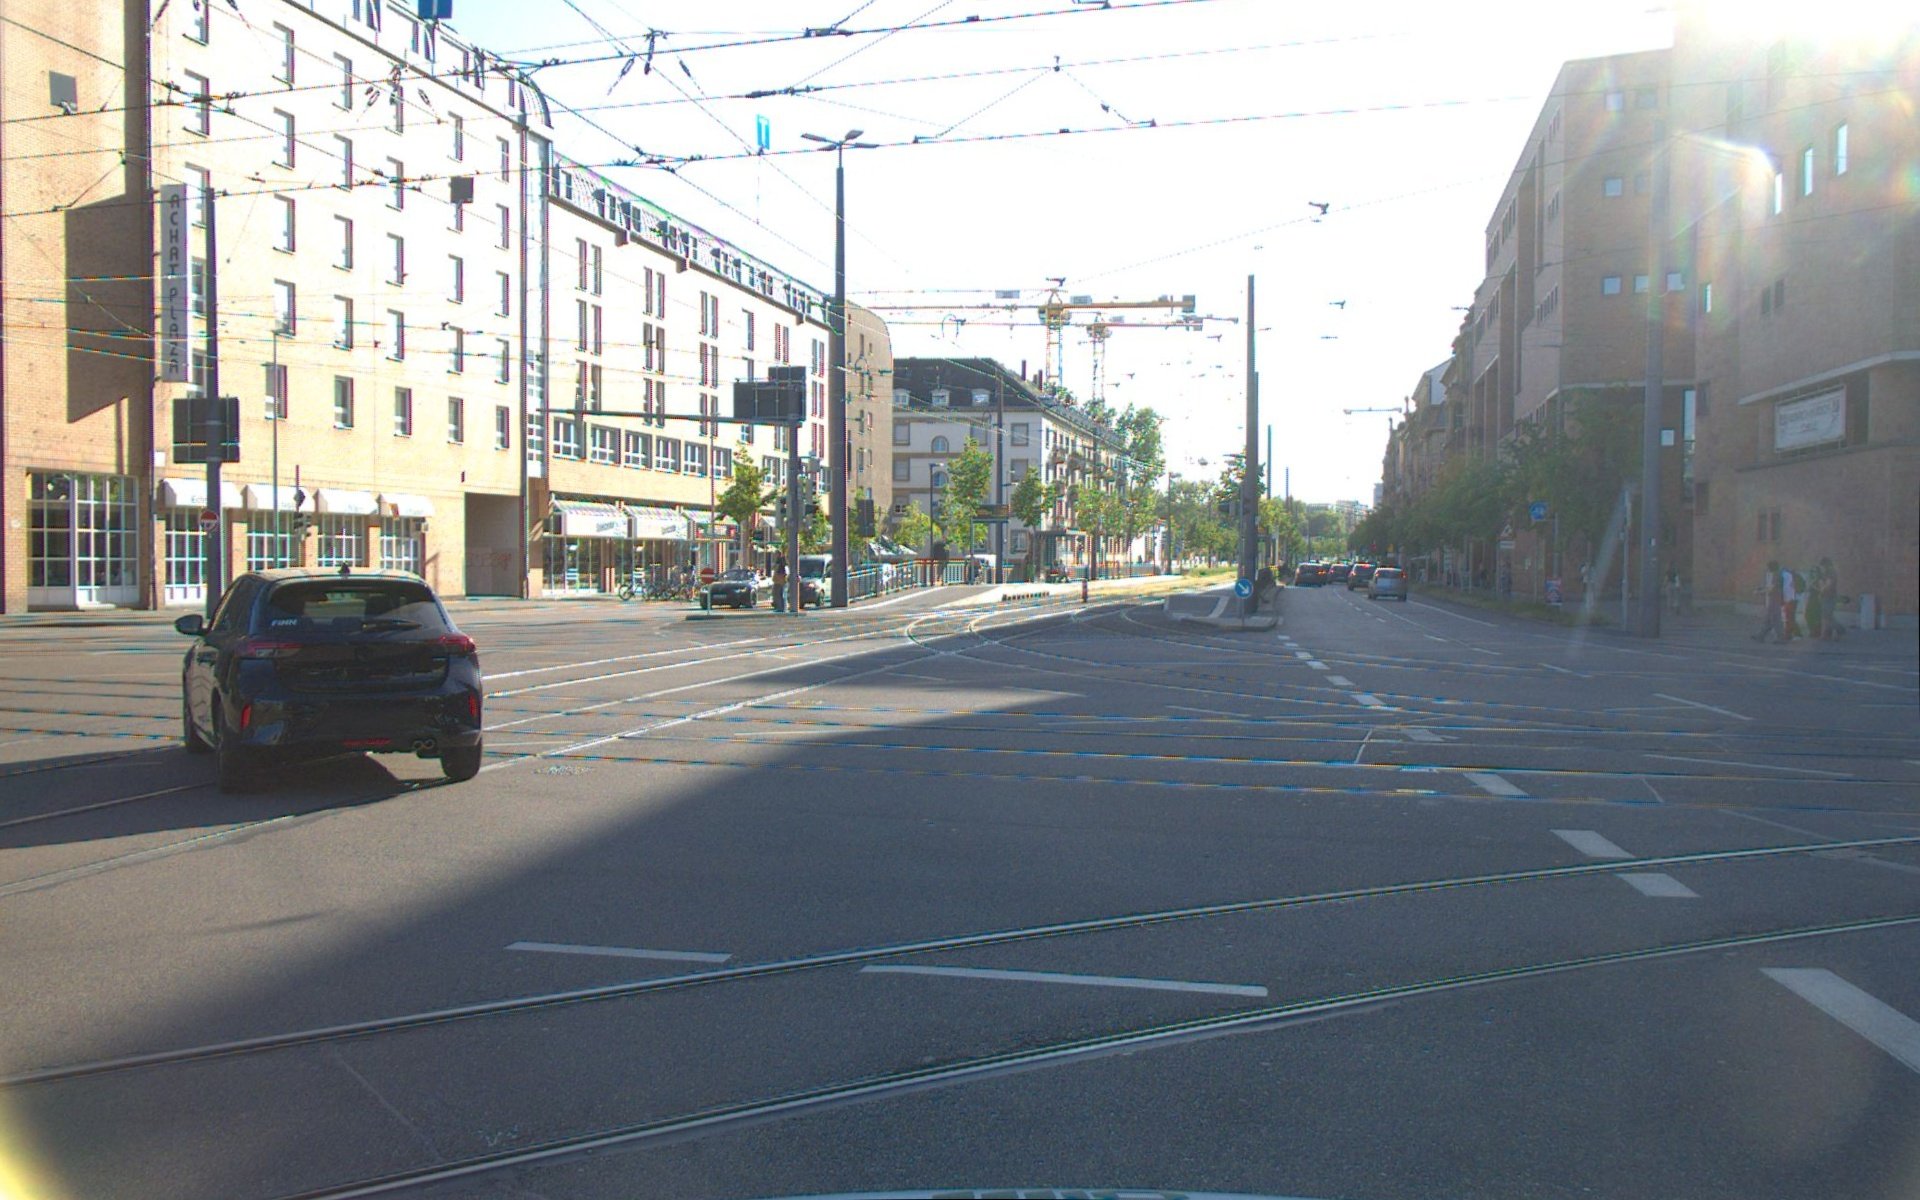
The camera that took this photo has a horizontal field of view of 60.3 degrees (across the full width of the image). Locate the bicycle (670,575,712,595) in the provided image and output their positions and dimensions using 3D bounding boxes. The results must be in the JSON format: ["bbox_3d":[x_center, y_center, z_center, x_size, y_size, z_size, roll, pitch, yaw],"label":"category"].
[{"bbox_3d":[-12.661,-0.718,77.816,1.992,0.936,0.483,1,2,24],"label":"bicycle"}]

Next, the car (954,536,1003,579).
[{"bbox_3d":[1.435,-3.259,123.542,2.326,3.050,8.480,0,3,10],"label":"car"}]

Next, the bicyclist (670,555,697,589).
[{"bbox_3d":[-11.482,-1.177,68.699,0.792,1.400,0.926,0,2,12],"label":"bicyclist"}]

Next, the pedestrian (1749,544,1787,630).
[{"bbox_3d":[17.230,-0.273,35.292,0.559,1.817,0.549,0,1,5],"label":"pedestrian"}]

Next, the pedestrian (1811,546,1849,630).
[{"bbox_3d":[18.876,-0.271,35.889,0.559,1.817,0.549,0,1,5],"label":"pedestrian"}]

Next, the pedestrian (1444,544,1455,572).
[{"bbox_3d":[31.925,-2.721,107.878,0.626,1.817,0.689,0,1,16],"label":"pedestrian"}]

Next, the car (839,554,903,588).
[{"bbox_3d":[-3.984,-1.325,74.776,1.800,1.473,4.303,-1,1,12],"label":"car"}]

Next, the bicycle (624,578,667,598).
[{"bbox_3d":[-14.062,-0.549,73.915,1.992,0.860,0.483,1,2,24],"label":"bicycle"}]

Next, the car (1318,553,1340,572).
[{"bbox_3d":[29.908,-3.048,134.000,1.684,1.478,3.701,0,2,13],"label":"car"}]

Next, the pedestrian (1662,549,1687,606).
[{"bbox_3d":[22.848,-0.718,52.894,0.626,1.817,0.689,0,1,16],"label":"pedestrian"}]

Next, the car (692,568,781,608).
[{"bbox_3d":[-7.846,-0.458,58.475,1.800,1.290,4.234,-1,1,11],"label":"car"}]

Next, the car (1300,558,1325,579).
[{"bbox_3d":[25.229,-2.270,118.250,1.684,1.478,3.701,0,2,13],"label":"car"}]

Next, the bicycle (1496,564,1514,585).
[{"bbox_3d":[25.451,-1.197,77.221,0.634,0.920,2.348,1,2,14],"label":"bicycle"}]

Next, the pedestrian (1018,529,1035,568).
[{"bbox_3d":[3.347,-2.602,83.375,0.843,1.919,0.738,1,3,3],"label":"pedestrian"}]

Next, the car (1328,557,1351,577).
[{"bbox_3d":[28.448,-2.456,123.890,1.684,1.478,3.701,0,2,13],"label":"car"}]

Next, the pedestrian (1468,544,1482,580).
[{"bbox_3d":[26.040,-1.923,83.699,0.626,1.817,0.689,0,1,14],"label":"pedestrian"}]

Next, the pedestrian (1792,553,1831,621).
[{"bbox_3d":[19.034,-0.303,36.973,0.536,1.502,0.573,0,2,-5],"label":"pedestrian"}]

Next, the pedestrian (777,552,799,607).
[{"bbox_3d":[-5.069,-0.613,48.842,0.568,1.604,0.647,0,1,0],"label":"pedestrian"}]

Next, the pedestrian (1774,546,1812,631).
[{"bbox_3d":[17.846,-0.255,35.449,0.559,1.817,0.549,0,1,5],"label":"pedestrian"}]

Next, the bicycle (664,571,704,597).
[{"bbox_3d":[-11.469,-0.670,68.752,0.792,1.008,2.511,0,2,12],"label":"bicycle"}]

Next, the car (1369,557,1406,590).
[{"bbox_3d":[20.016,-1.274,77.510,1.526,1.481,3.435,1,2,13],"label":"car"}]

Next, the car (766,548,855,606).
[{"bbox_3d":[-5.056,-0.809,56.437,1.800,1.867,4.111,-1,1,13],"label":"car"}]

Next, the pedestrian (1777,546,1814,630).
[{"bbox_3d":[18.321,-0.271,36.273,0.559,1.817,0.549,0,1,5],"label":"pedestrian"}]

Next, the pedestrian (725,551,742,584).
[{"bbox_3d":[-12.364,-1.775,90.290,0.701,1.795,0.566,0,1,16],"label":"pedestrian"}]

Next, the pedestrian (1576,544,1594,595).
[{"bbox_3d":[22.725,-1.123,60.133,0.536,1.816,0.574,1,4,16],"label":"pedestrian"}]

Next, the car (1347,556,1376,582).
[{"bbox_3d":[24.070,-1.873,99.175,1.635,1.478,3.701,0,2,13],"label":"car"}]

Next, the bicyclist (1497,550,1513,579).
[{"bbox_3d":[25.477,-1.674,77.291,0.632,1.362,0.653,1,1,14],"label":"bicyclist"}]

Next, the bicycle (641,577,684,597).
[{"bbox_3d":[-13.565,-0.589,75.308,1.992,0.860,0.483,1,2,24],"label":"bicycle"}]

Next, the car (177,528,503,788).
[{"bbox_3d":[-4.660,0.329,12.119,1.654,1.527,3.656,3,1,-29],"label":"car"}]

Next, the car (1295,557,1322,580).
[{"bbox_3d":[22.935,-2.061,108.801,1.684,1.478,3.701,0,2,13],"label":"car"}]

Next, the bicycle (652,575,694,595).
[{"bbox_3d":[-13.310,-0.698,76.667,1.992,0.936,0.483,1,2,24],"label":"bicycle"}]

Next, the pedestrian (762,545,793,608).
[{"bbox_3d":[-5.140,-0.657,46.519,0.705,1.757,0.595,1,2,14],"label":"pedestrian"}]
